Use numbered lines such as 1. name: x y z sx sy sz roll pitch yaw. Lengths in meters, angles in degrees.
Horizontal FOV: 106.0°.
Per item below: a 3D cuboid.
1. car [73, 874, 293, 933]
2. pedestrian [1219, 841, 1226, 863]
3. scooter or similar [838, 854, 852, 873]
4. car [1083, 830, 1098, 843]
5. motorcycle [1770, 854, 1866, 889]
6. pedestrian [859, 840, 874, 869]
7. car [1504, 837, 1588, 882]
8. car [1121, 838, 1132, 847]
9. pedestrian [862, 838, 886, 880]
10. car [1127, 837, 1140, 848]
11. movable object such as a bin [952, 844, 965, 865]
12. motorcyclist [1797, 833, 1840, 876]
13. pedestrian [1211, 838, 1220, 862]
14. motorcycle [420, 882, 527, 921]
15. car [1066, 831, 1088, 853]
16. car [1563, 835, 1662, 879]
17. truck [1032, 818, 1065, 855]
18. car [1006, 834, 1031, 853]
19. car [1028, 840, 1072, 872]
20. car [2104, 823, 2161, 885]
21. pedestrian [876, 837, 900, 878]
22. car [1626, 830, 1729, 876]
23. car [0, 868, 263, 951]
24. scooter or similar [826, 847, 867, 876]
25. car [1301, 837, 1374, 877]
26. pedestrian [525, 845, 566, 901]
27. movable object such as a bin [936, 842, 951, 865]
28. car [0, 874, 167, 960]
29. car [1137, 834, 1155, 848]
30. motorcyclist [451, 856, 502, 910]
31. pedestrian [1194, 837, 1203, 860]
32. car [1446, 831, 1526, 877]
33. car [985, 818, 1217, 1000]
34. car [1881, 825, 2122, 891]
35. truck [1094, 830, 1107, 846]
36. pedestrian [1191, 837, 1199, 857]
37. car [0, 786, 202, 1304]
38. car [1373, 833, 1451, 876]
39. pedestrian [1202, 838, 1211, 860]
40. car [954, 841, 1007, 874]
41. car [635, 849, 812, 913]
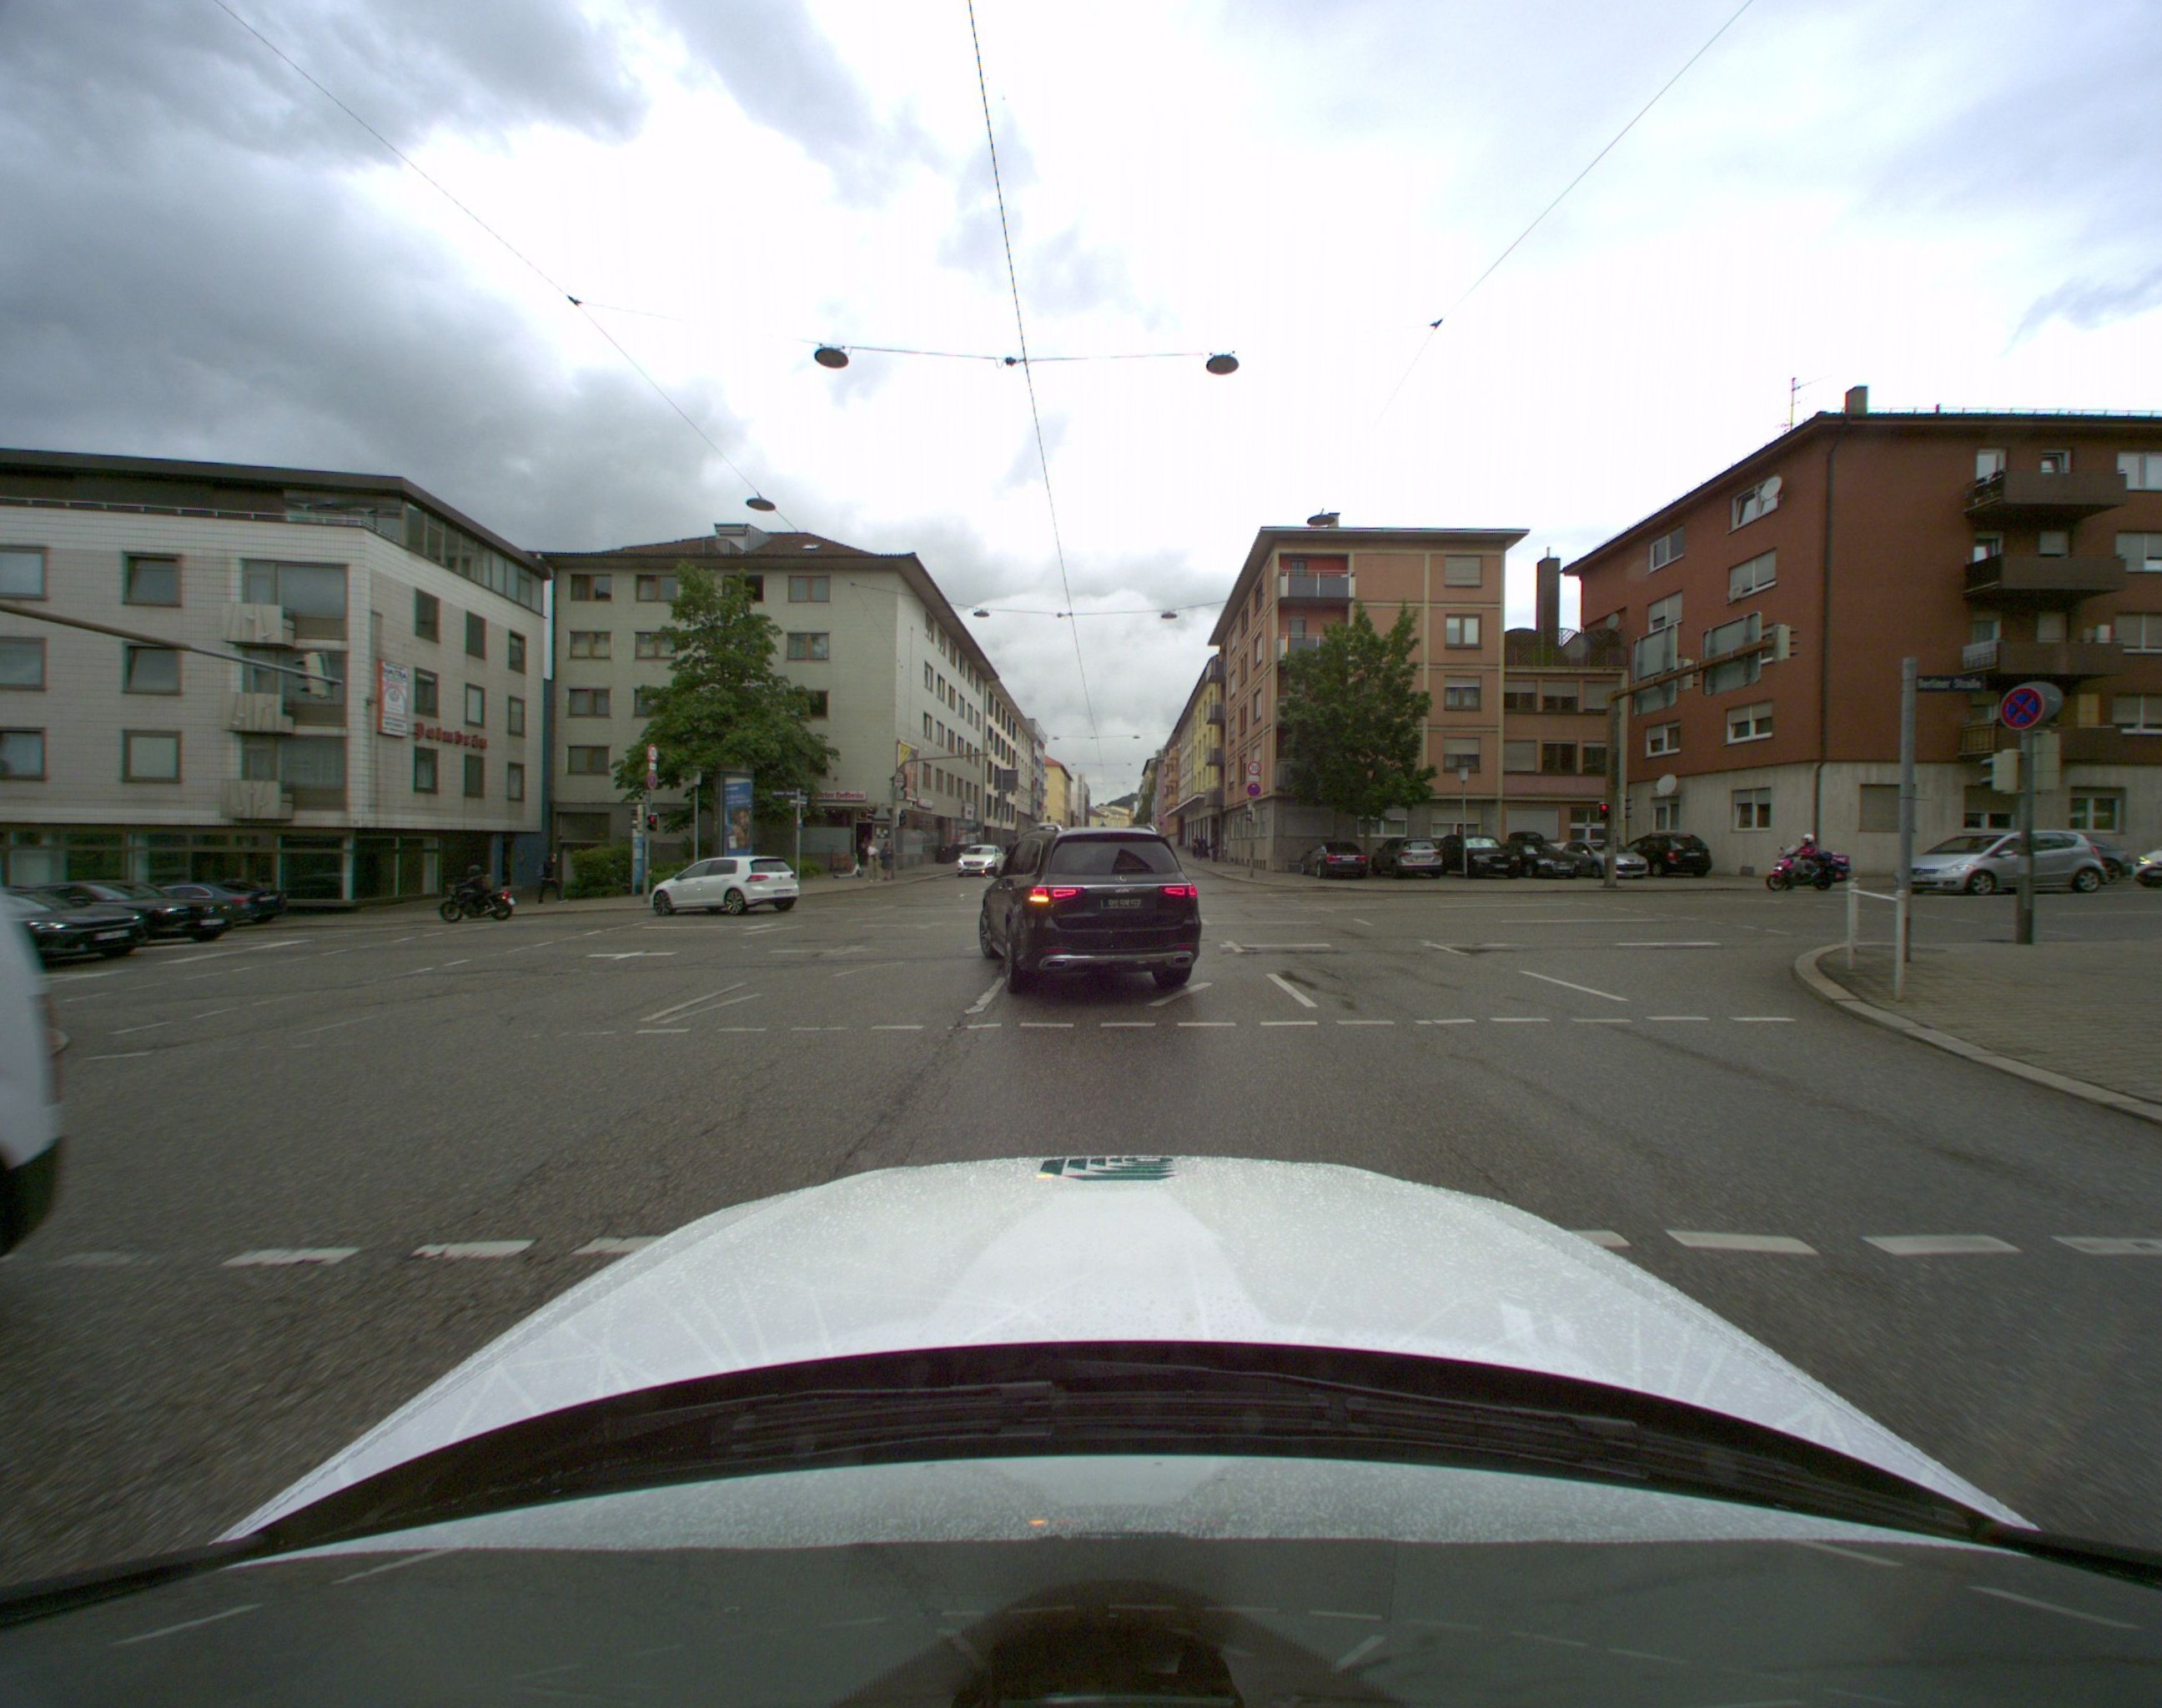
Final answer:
1. car: -27.420 1.472 25.010 4.359 1.391 1.766 -3 3 -6
2. pedestrian: 9.428 -0.139 54.422 0.362 1.398 0.370 2 3 2
3. scooter or similar: -10.598 0.424 36.519 0.460 0.843 1.313 2 -1 -21
4. car: 1.305 -2.275 107.302 1.836 1.674 4.003 0 0 3
5. motorcycle: 21.549 0.518 23.819 2.354 0.927 0.636 -2 -1 -6
6. pedestrian: -10.778 0.034 40.939 0.517 1.400 0.578 2 -1 -2
7. car: 18.708 0.193 32.977 1.783 1.698 4.013 2 1 12
8. car: 9.266 -2.279 165.204 2.006 1.562 4.005 2 -1 5
9. pedestrian: -8.418 0.185 33.140 0.713 1.646 0.751 1 3 -34
10. car: 8.422 -1.897 131.093 2.006 1.562 4.005 2 -1 5
11. movable object such as a bin: -7.895 0.013 52.580 0.695 1.315 0.782 2 -1 1
12. motorcyclist: 21.573 0.011 23.824 0.655 1.224 0.653 -1 0 -5
13. pedestrian: 8.978 -0.254 54.396 0.477 1.565 0.558 2 3 2
14. motorcycle: -16.766 1.298 22.537 2.240 1.006 0.864 0 0 -5
15. car: -0.408 -1.256 86.483 2.056 2.241 4.624 0 0 3
16. car: 21.071 0.152 32.465 1.660 1.582 4.007 2 -1 7
17. truck: -3.719 -1.947 94.877 2.795 3.832 8.152 2 -1 4
18. car: -5.390 -0.888 70.447 1.717 1.603 4.001 0 0 1
19. car: -1.474 0.064 40.408 1.836 1.489 4.003 -1 0 2
20. car: 29.038 -0.020 20.597 3.973 1.554 1.850 -1 0 1
21. pedestrian: -8.059 0.139 33.977 0.713 1.646 0.751 1 3 -34
22. car: 24.006 -0.008 32.961 1.979 1.706 4.014 2 -1 14
23. car: -22.076 1.243 18.783 4.353 1.537 1.824 -3 1 -2
24. scooter or similar: -9.977 0.330 34.673 1.565 1.190 0.496 2 -1 -28
25. car: 10.534 0.107 33.793 1.836 1.554 4.801 0 0 4
26. pedestrian: -18.110 0.637 27.549 0.906 1.817 0.760 1 3 30
27. movable object such as a bin: -8.077 -0.014 47.940 0.695 1.315 0.782 2 -1 1
28. car: -20.656 1.177 15.463 4.353 1.477 1.824 -1 1 -2
29. car: 7.940 -1.546 99.118 2.006 1.562 5.161 2 -1 5
30. motorcyclist: -16.697 0.778 22.503 0.742 1.453 0.906 0 0 -4
31. pedestrian: 8.309 -0.398 57.471 0.518 1.538 0.569 2 3 2
32. car: 16.080 -0.001 32.540 1.973 1.719 4.014 -1 0 13
33. car: -0.046 0.550 10.326 2.021 1.739 4.730 0 0 -10
34. car: 23.247 0.100 20.692 3.972 1.554 1.842 -1 0 1
35. truck: 5.115 -4.097 209.054 2.795 3.832 8.152 2 -1 4
36. pedestrian: 8.972 -0.537 64.012 0.518 1.555 0.569 2 3 2
37. car: -4.050 0.649 1.112 1.811 1.715 4.519 -2 0 -18
38. car: 13.340 0.003 33.113 1.976 1.660 4.008 0 0 7
39. pedestrian: 8.874 -0.348 57.477 0.518 1.518 0.569 2 3 2
40. car: -4.799 0.152 39.371 1.836 1.512 4.003 -1 0 2
41. car: -9.361 0.719 21.290 4.324 1.461 1.847 -3 0 26
